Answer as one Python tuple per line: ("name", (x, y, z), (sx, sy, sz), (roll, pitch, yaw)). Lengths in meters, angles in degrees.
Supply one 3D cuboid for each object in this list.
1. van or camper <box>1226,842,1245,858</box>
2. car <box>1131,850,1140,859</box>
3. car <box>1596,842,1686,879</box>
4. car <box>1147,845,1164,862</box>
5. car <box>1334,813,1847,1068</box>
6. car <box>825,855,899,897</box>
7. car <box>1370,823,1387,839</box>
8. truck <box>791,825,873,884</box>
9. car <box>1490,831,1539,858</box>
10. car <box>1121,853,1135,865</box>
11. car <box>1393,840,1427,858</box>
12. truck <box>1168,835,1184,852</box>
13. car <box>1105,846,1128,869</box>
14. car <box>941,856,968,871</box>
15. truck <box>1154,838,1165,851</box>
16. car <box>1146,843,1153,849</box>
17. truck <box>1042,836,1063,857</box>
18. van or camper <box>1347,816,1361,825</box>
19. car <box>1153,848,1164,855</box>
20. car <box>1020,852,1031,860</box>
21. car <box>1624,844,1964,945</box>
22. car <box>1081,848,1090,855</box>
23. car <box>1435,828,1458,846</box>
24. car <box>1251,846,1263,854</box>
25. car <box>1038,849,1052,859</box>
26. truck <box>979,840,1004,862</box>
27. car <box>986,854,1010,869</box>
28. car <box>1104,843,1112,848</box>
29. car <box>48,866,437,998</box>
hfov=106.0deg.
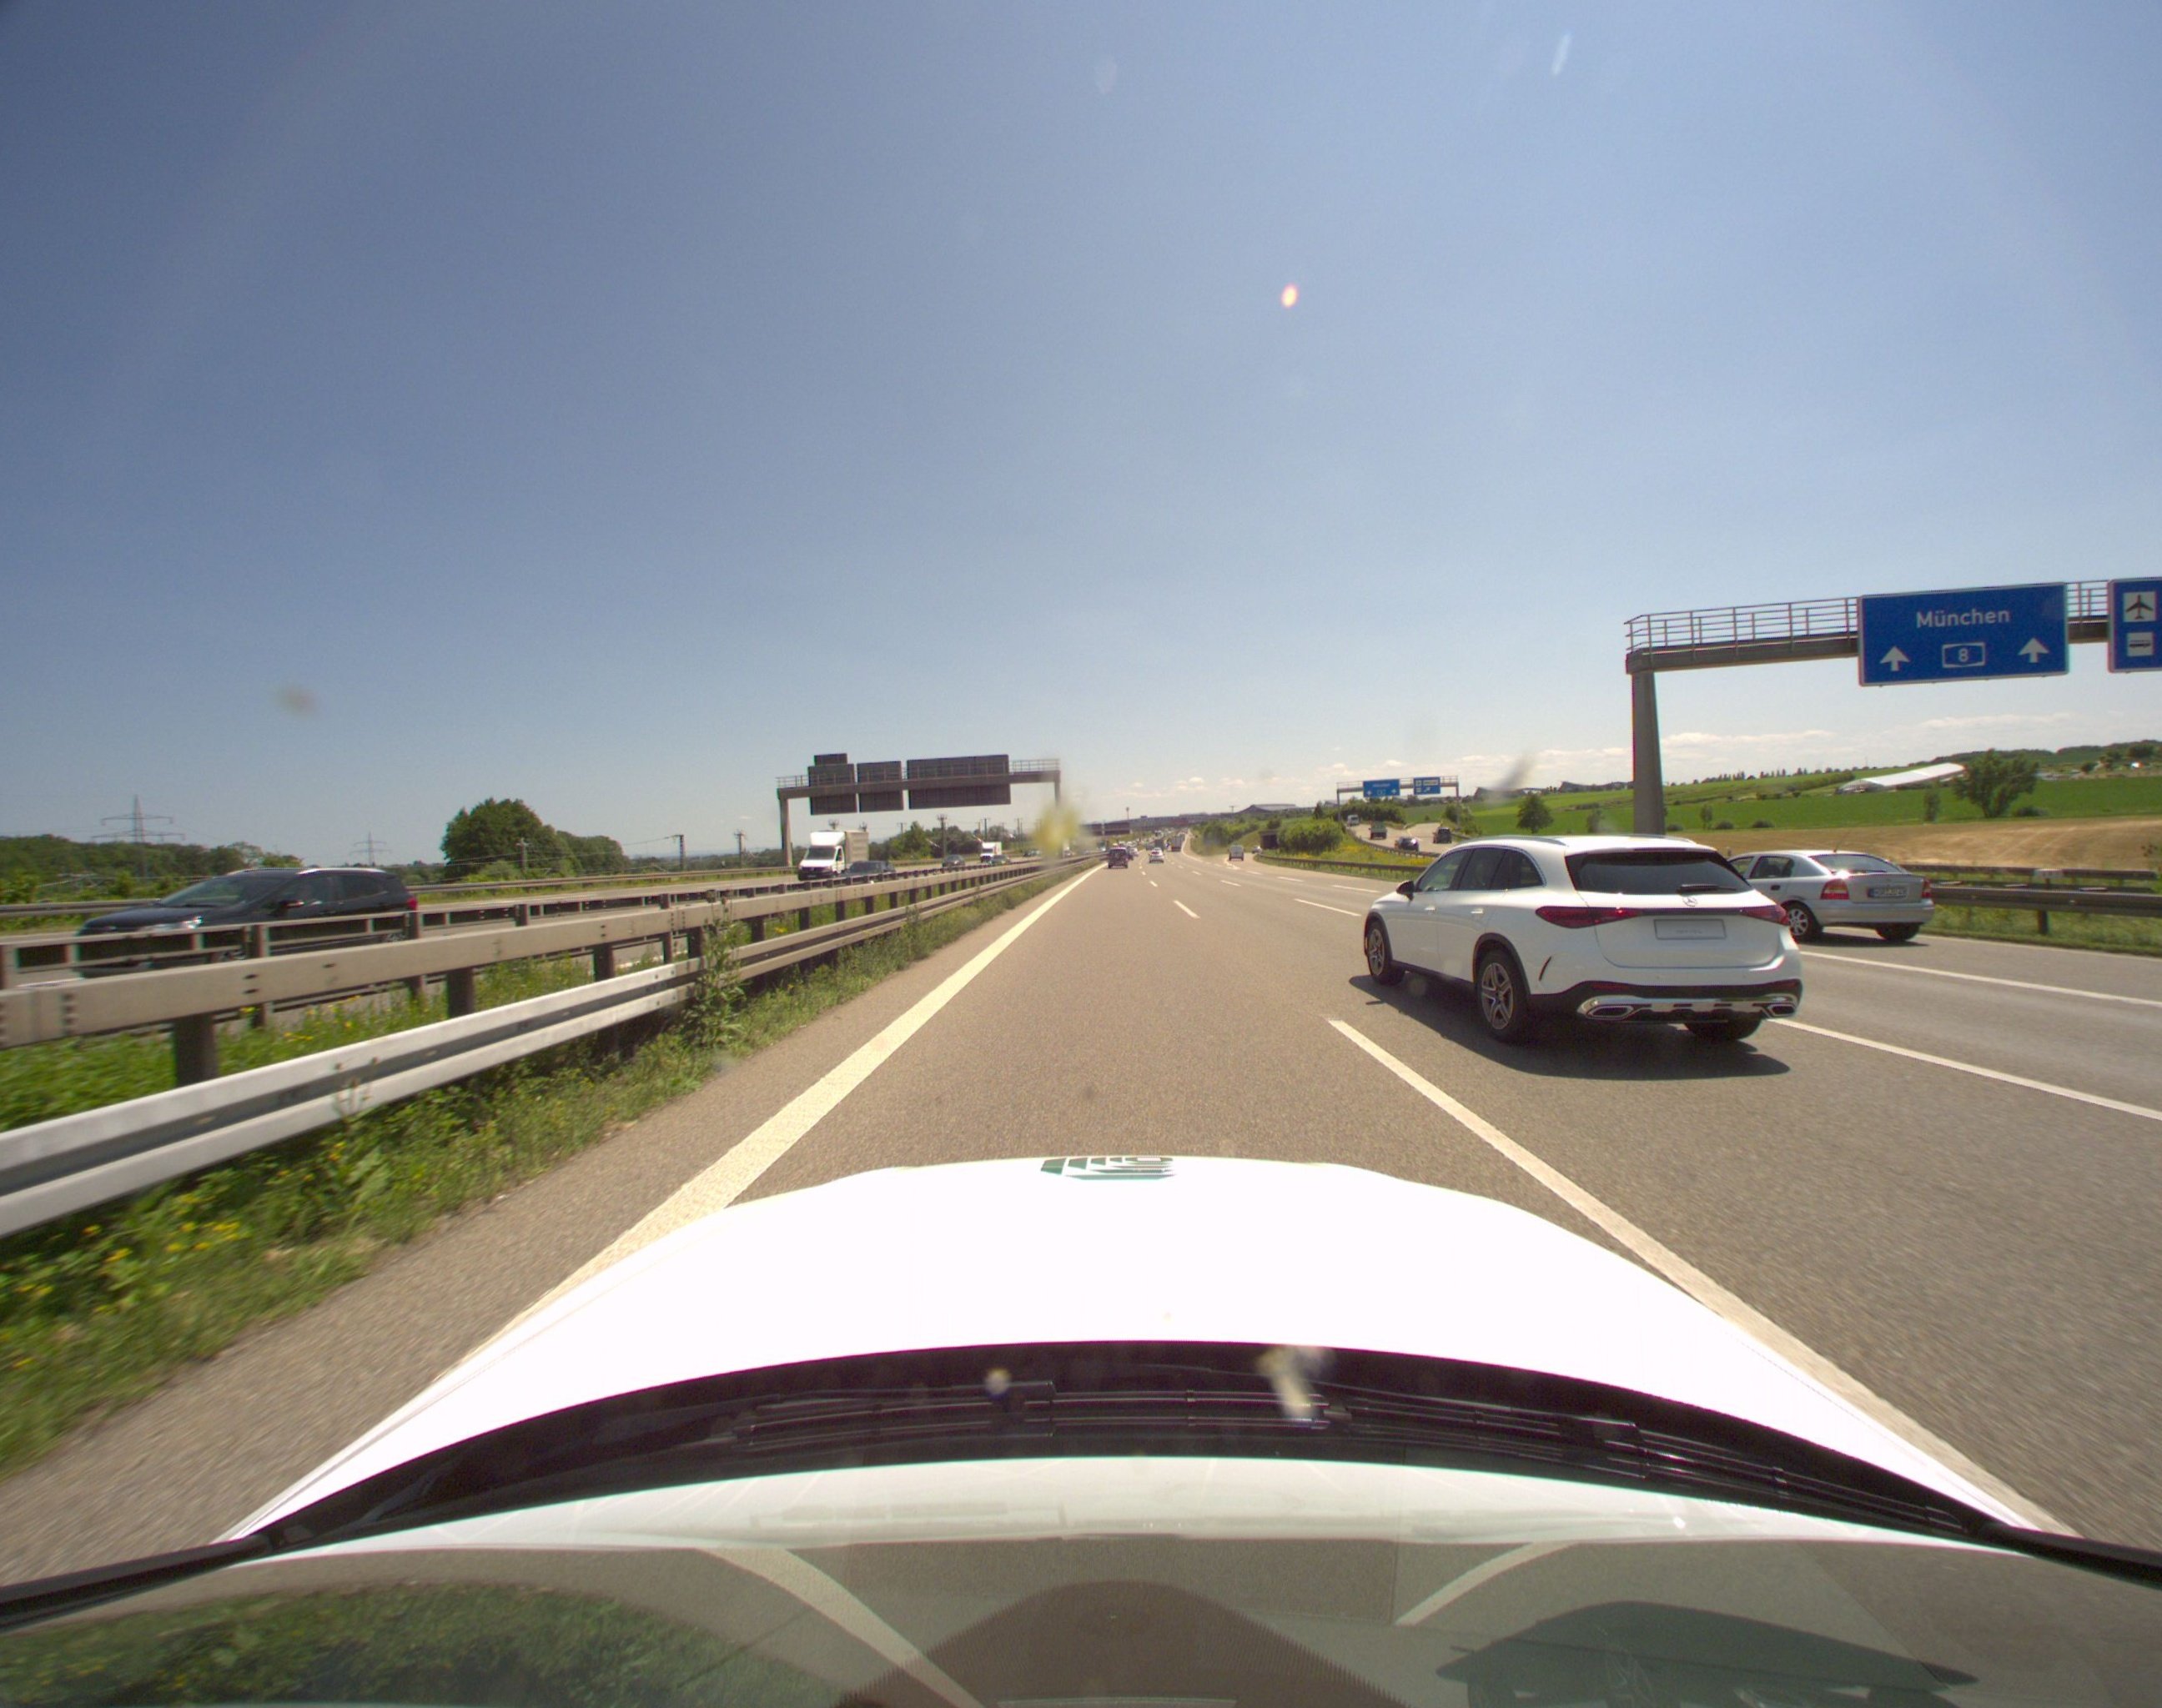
("van or camper", (20.099, -0.505, 106.021), (2.141, 2.014, 4.320), (-1, 0, 13))
("car", (10.080, 0.092, 151.361), (1.568, 1.552, 3.969), (-1, 0, 5))
("car", (25.579, 0.279, 37.352), (1.690, 1.575, 4.137), (-1, 0, 7))
("car", (8.994, -0.053, 98.032), (1.918, 1.919, 4.522), (-1, 0, 4))
("car", (4.138, 0.589, 7.881), (1.891, 1.647, 4.999), (-1, 0, 1))
("car", (-9.226, 0.887, 34.717), (1.742, 1.625, 4.832), (-1, 0, 1))
("car", (41.307, -3.167, 112.936), (1.976, 2.014, 4.022), (-1, -1, 23))
("truck", (-14.895, 0.059, 49.325), (2.367, 3.277, 7.663), (-1, 0, 1))
("car", (32.751, -0.671, 61.642), (1.928, 1.923, 4.188), (-1, 0, 7))
("car", (6.719, 0.770, 116.012), (1.917, 1.627, 4.524), (-1, 0, 5))
("car", (32.022, -0.455, 79.348), (1.984, 1.596, 4.005), (-1, 0, 5))
("truck", (25.038, -2.822, 215.418), (4.019, 4.261, 11.778), (-1, 2, 6))
("car", (3.190, 0.328, 73.177), (1.919, 1.919, 4.952), (-1, 0, 3))
("car", (-12.964, 0.957, 83.601), (1.897, 1.420, 4.004), (-1, 0, 3))
("truck", (20.482, -2.413, 211.099), (2.689, 3.109, 10.676), (-1, 0, 6))
("car", (20.553, -2.412, 244.533), (2.176, 2.003, 4.005), (-1, 1, 4))
("truck", (-5.875, -1.484, 168.444), (3.231, 4.209, 7.706), (-1, 0, 6))
("van or camper", (64.300, -7.858, 192.133), (2.513, 2.014, 4.473), (-1, 0, 10))
("car", (15.131, -0.479, 158.836), (1.972, 1.473, 4.006), (-2, 0, 6))
("car", (-12.009, 0.378, 175.573), (1.796, 1.748, 4.006), (-1, 0, 5))
("car", (12.069, 0.608, 14.367), (1.780, 1.437, 4.847), (-1, 0, 0))
("car", (1.072, -0.588, 196.562), (1.833, 1.460, 5.003), (-1, 1, 4))
("car", (43.265, -2.008, 96.471), (1.924, 1.923, 4.198), (-1, 0, 17))
("car", (38.298, -0.822, 177.613), (1.977, 1.750, 4.020), (-1, 0, 20))
("car", (-5.903, -0.002, 134.072), (1.735, 1.561, 4.004), (-1, 0, 3))
("truck", (-13.488, -0.547, 123.186), (2.310, 3.167, 8.121), (-1, 0, 4))
("car", (-8.706, 0.805, 85.879), (1.782, 1.464, 4.863), (-1, 0, 3))
("car", (7.276, -2.248, 216.430), (1.833, 1.460, 5.003), (-1, 1, 4))
("car", (-12.380, 1.032, 12.494), (1.669, 1.625, 4.086), (-1, 0, 1))
